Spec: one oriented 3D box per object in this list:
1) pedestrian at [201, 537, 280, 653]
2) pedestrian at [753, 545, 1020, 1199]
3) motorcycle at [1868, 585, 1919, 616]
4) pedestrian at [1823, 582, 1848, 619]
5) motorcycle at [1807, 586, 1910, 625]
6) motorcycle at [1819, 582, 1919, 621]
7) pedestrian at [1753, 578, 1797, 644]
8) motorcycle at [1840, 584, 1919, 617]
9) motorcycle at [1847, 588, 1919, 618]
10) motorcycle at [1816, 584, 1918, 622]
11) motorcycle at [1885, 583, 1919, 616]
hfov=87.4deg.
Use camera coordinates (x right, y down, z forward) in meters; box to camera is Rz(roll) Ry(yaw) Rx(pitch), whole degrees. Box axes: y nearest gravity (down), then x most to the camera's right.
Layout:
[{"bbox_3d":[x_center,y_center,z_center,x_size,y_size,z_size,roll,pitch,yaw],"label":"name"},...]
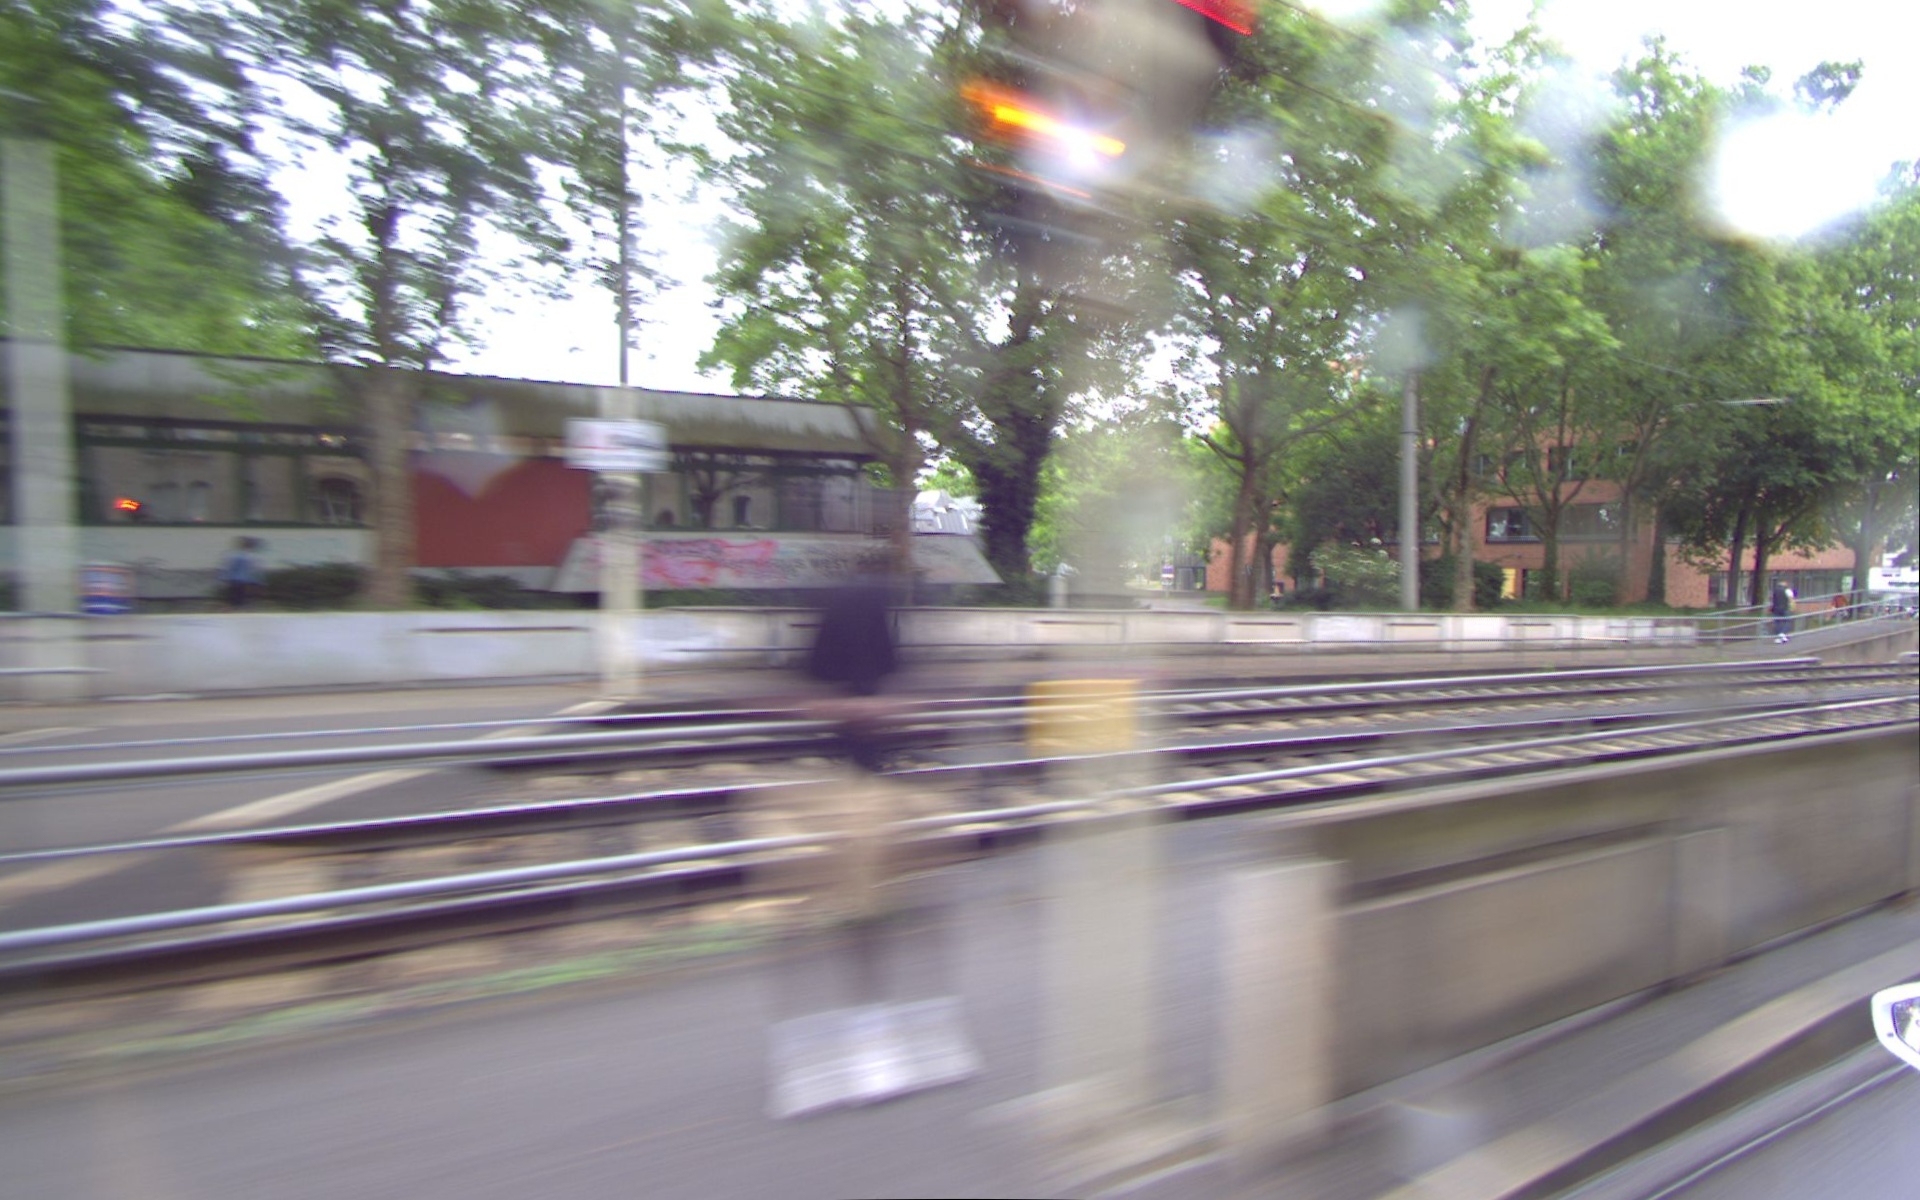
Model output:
[{"bbox_3d":[-11.695,-0.092,16.360,0.850,1.823,0.866,0,3,-24],"label":"pedestrian"},{"bbox_3d":[-0.220,0.720,2.826,0.649,1.728,0.652,0,3,-7],"label":"pedestrian"},{"bbox_3d":[52.617,0.038,55.815,0.994,1.649,3.042,0,3,-31],"label":"motorcycle"},{"bbox_3d":[49.323,0.040,56.588,0.969,2.041,0.729,0,2,-31],"label":"pedestrian"},{"bbox_3d":[47.017,0.268,52.663,0.994,1.840,3.844,0,3,-31],"label":"motorcycle"},{"bbox_3d":[46.222,0.031,50.946,0.994,1.798,3.844,0,3,-31],"label":"motorcycle"},{"bbox_3d":[21.577,0.269,26.601,0.679,1.686,0.654,-2,4,-30],"label":"pedestrian"},{"bbox_3d":[50.046,0.021,54.056,0.994,1.627,3.844,0,3,-31],"label":"motorcycle"},{"bbox_3d":[51.564,0.154,55.397,0.994,1.508,3.844,0,3,-31],"label":"motorcycle"},{"bbox_3d":[47.995,0.149,53.238,0.994,1.840,3.844,0,3,-31],"label":"motorcycle"},{"bbox_3d":[54.237,0.000,56.506,0.982,1.840,3.020,0,3,-31],"label":"motorcycle"}]
